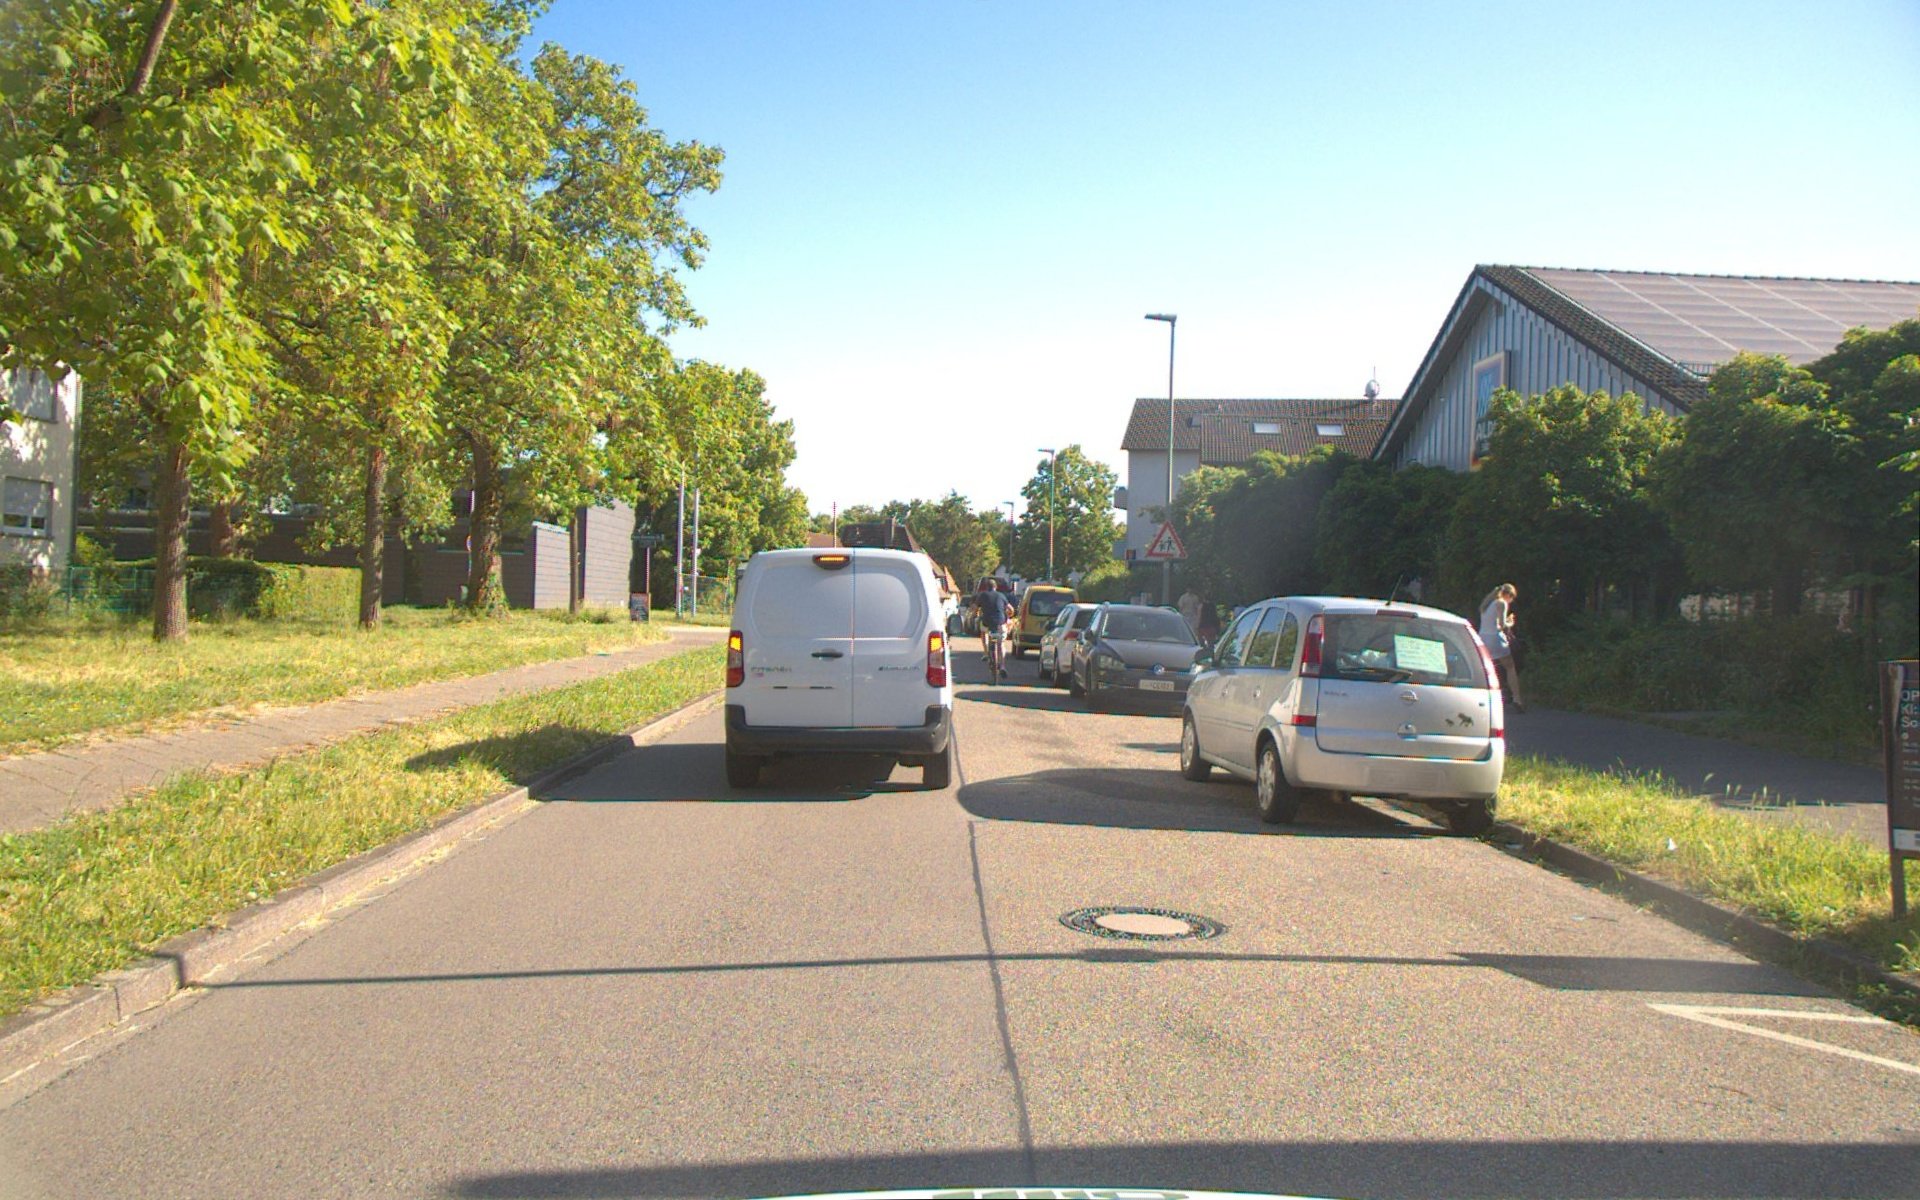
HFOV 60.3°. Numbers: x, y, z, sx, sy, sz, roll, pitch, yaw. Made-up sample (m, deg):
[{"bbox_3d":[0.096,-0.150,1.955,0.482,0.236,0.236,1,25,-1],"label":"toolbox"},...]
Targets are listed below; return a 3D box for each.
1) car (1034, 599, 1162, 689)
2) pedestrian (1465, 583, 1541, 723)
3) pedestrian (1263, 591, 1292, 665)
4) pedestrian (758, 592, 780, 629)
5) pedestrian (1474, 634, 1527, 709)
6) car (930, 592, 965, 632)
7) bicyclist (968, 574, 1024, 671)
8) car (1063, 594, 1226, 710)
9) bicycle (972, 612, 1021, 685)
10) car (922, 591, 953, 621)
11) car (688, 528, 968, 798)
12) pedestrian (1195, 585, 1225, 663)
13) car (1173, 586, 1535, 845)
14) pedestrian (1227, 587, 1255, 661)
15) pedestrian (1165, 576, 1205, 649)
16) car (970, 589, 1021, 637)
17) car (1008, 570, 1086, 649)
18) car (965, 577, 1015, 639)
[{"bbox_3d":[2.459,0.755,30.298,1.790,1.477,3.998,2,0,-3],"label":"car"},{"bbox_3d":[7.245,0.688,22.099,0.781,1.813,0.809,1,0,6],"label":"pedestrian"},{"bbox_3d":[7.307,0.641,38.028,0.555,1.665,0.547,1,0,4],"label":"pedestrian"},{"bbox_3d":[-7.916,0.431,68.587,0.500,1.470,0.637,4,0,32],"label":"pedestrian"},{"bbox_3d":[7.483,0.980,22.931,0.521,0.997,0.811,2,0,6],"label":"pedestrian"},{"bbox_3d":[-0.743,0.699,94.726,1.768,2.105,3.997,4,-1,-3],"label":"car"},{"bbox_3d":[0.615,0.390,28.502,0.887,1.612,0.966,2,-1,0],"label":"bicyclist"},{"bbox_3d":[2.575,0.677,24.094,1.771,1.468,4.362,2,0,-1],"label":"car"},{"bbox_3d":[0.611,0.816,28.482,0.771,1.158,2.279,1,0,0],"label":"bicycle"},{"bbox_3d":[-1.500,0.442,112.923,1.767,1.874,4.001,4,-1,3],"label":"car"},{"bbox_3d":[-0.956,0.444,14.215,1.952,1.914,4.289,1,0,1],"label":"car"},{"bbox_3d":[5.444,0.513,36.051,0.555,1.665,0.547,1,0,4],"label":"pedestrian"},{"bbox_3d":[2.925,0.794,13.174,1.646,1.627,4.025,4,-1,-3],"label":"car"},{"bbox_3d":[6.498,0.550,38.261,0.555,1.665,0.547,1,0,4],"label":"pedestrian"},{"bbox_3d":[5.977,0.317,43.922,0.779,1.894,0.872,2,0,-9],"label":"pedestrian"},{"bbox_3d":[1.437,0.556,68.463,1.768,1.816,3.997,4,-1,-3],"label":"car"},{"bbox_3d":[2.154,0.238,41.941,1.689,1.869,3.999,2,0,0],"label":"car"},{"bbox_3d":[1.320,0.380,75.611,1.829,2.607,4.764,4,-1,-3],"label":"car"}]
